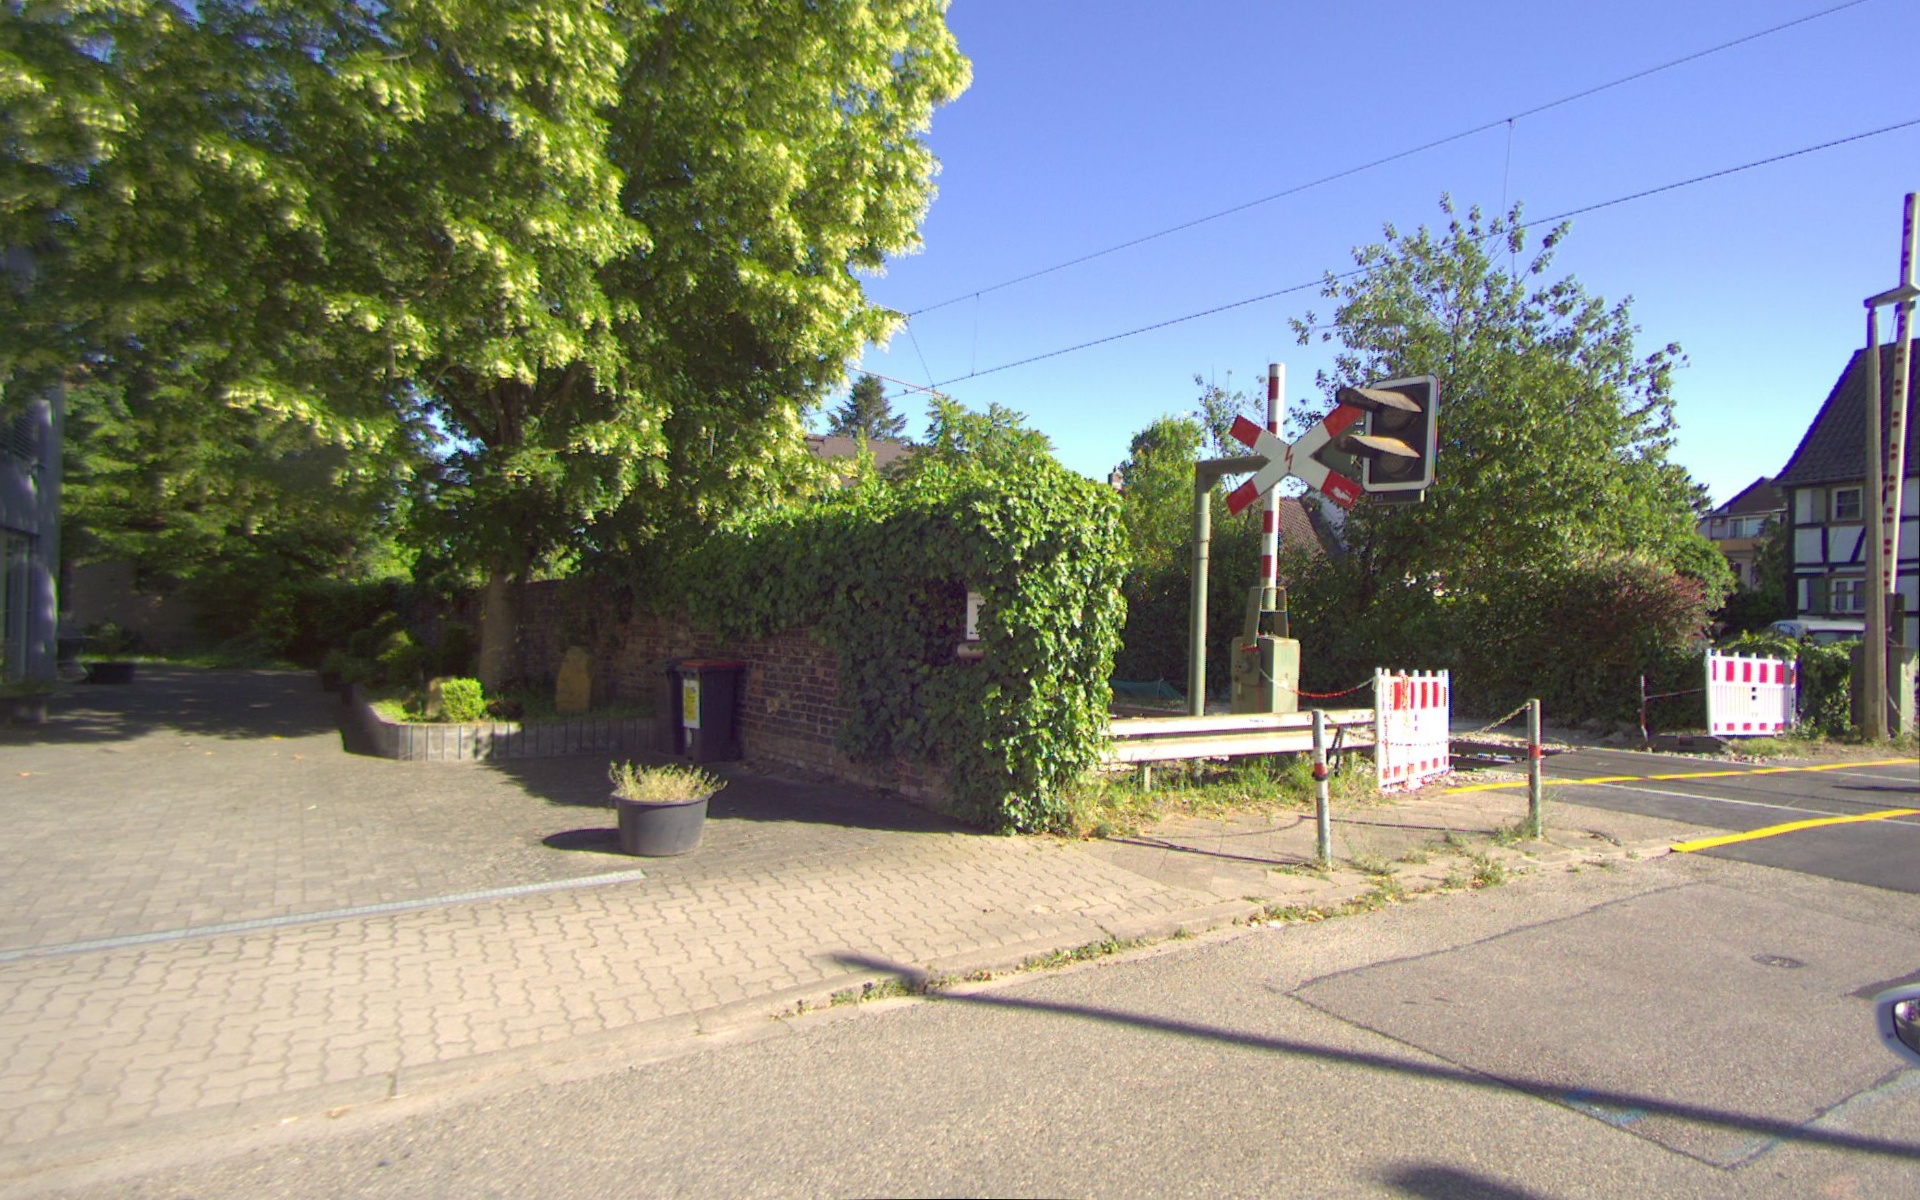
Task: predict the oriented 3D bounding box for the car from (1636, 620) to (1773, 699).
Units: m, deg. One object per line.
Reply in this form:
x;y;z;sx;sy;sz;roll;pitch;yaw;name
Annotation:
15.167;1.143;20.652;1.612;1.420;3.827;1;-1;27;car

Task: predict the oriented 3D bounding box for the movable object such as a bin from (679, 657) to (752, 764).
-2.334;1.039;9.569;0.502;0.946;0.588;3;-1;-29;movable object such as a bin

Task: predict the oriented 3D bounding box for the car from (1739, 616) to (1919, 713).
16.664;1.154;19.487;1.658;1.585;3.995;3;0;27;car

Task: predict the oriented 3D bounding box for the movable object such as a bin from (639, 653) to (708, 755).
-2.837;1.015;9.944;0.502;0.946;0.588;3;-1;-29;movable object such as a bin
